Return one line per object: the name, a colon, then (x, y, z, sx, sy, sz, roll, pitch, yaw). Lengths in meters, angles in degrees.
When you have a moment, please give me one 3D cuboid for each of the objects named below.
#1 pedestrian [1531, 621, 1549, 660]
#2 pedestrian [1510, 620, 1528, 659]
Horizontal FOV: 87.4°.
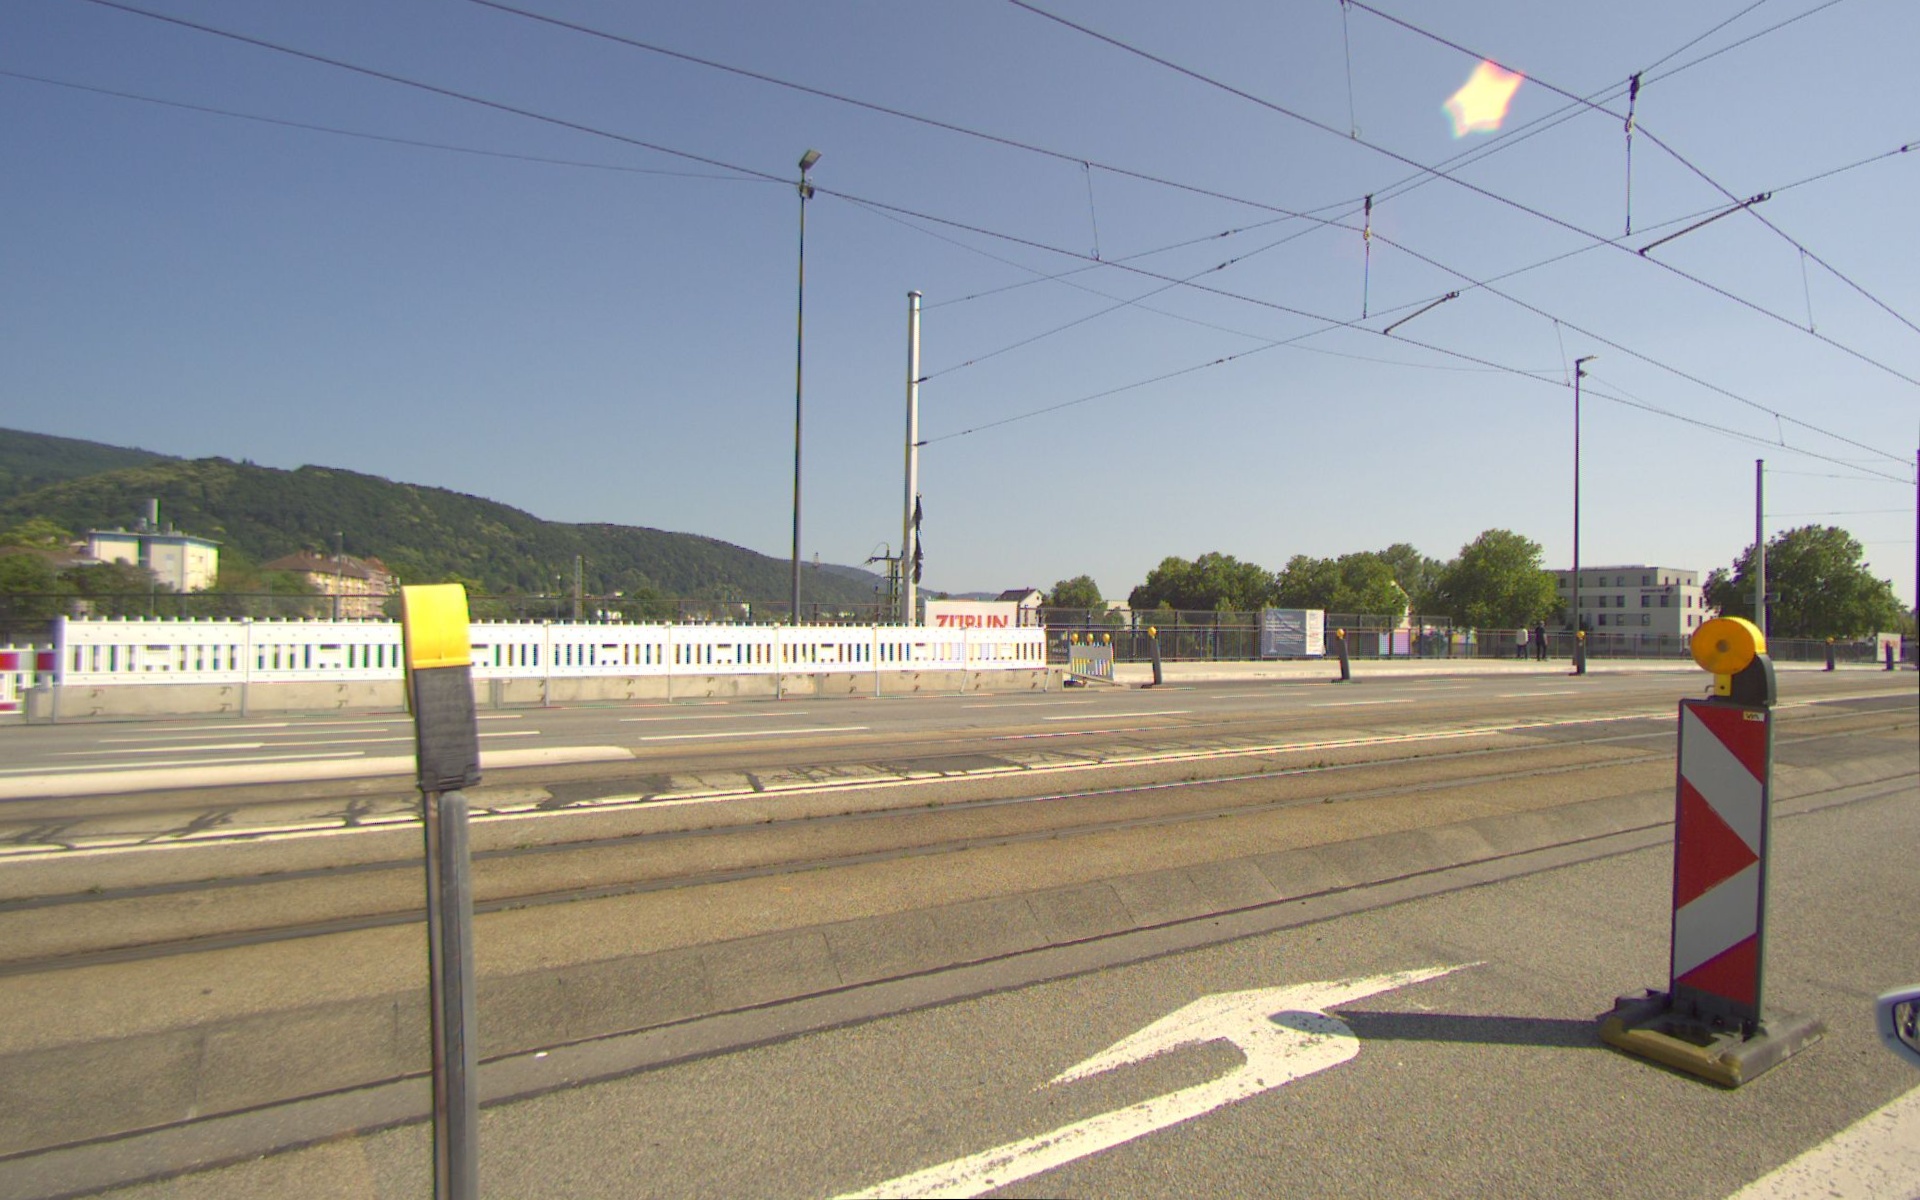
pedestrian: (25.647, 1.796, 44.446, 0.468, 1.717, 0.493, 2, 0, -30)
pedestrian: (25.203, 1.781, 45.297, 0.468, 1.717, 0.493, 2, 0, -30)
